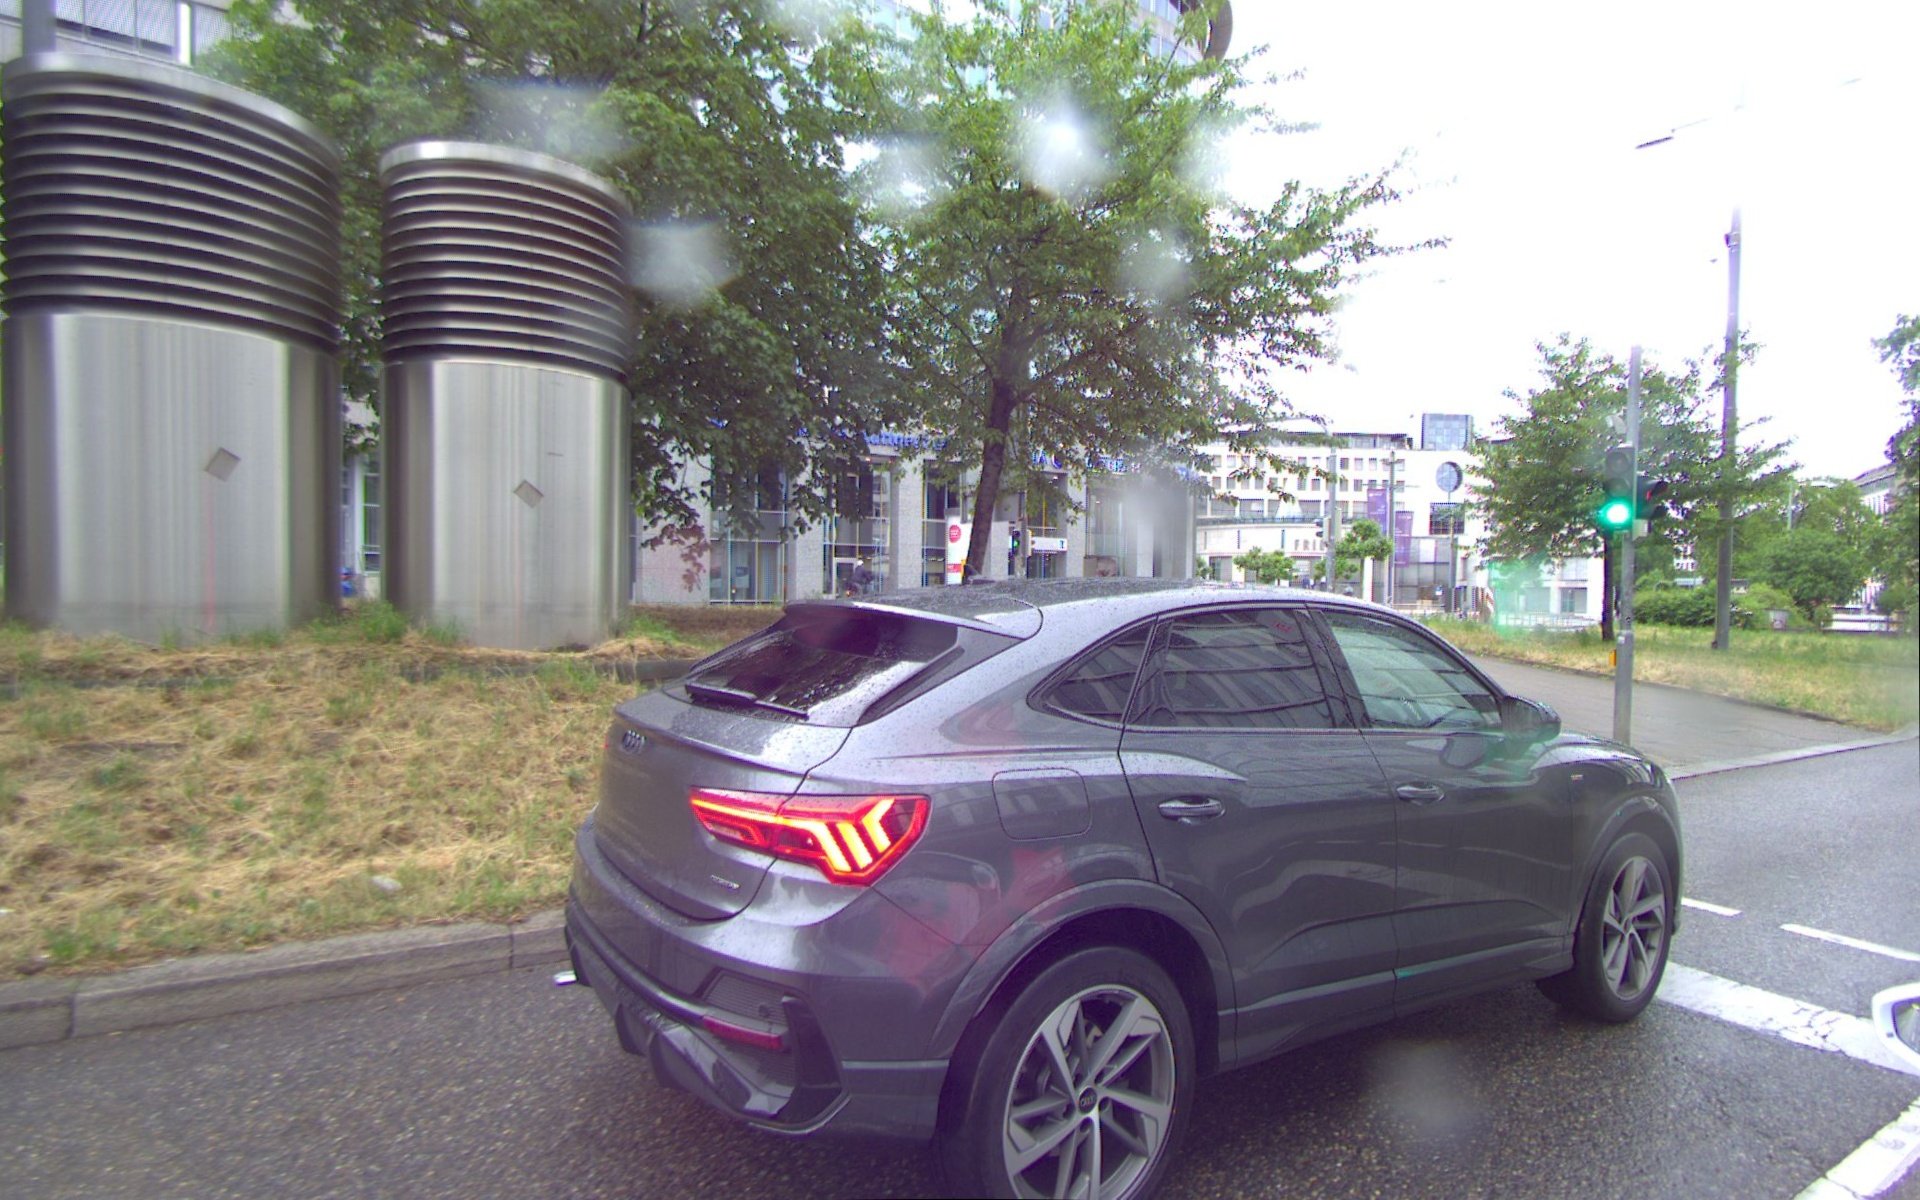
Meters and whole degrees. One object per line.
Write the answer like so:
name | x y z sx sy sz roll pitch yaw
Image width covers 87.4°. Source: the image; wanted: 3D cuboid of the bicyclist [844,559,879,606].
bicyclist | -3.729 -0.655 38.026 1.031 1.764 0.732 1 0 -35

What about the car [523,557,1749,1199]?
car | 0.892 0.726 3.658 4.299 1.538 1.849 2 1 -34

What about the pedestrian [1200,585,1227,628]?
pedestrian | 12.385 0.324 49.081 0.840 2.040 1.029 2 0 43

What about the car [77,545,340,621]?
car | -15.666 -0.337 21.158 4.282 1.404 1.662 1 3 -38

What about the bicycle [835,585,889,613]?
bicycle | -3.714 -0.022 38.036 1.915 1.020 0.739 1 0 -36

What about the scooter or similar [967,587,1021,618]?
scooter or similar | 1.403 0.108 41.251 2.226 1.229 0.767 2 1 -38

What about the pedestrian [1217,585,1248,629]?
pedestrian | 13.157 0.344 48.433 1.041 2.040 1.029 2 0 44

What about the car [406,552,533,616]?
car | -11.876 -0.385 24.335 2.600 1.404 1.232 2 2 -34

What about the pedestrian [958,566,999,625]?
pedestrian | 0.607 -0.155 33.500 0.946 1.906 0.927 2 0 44
